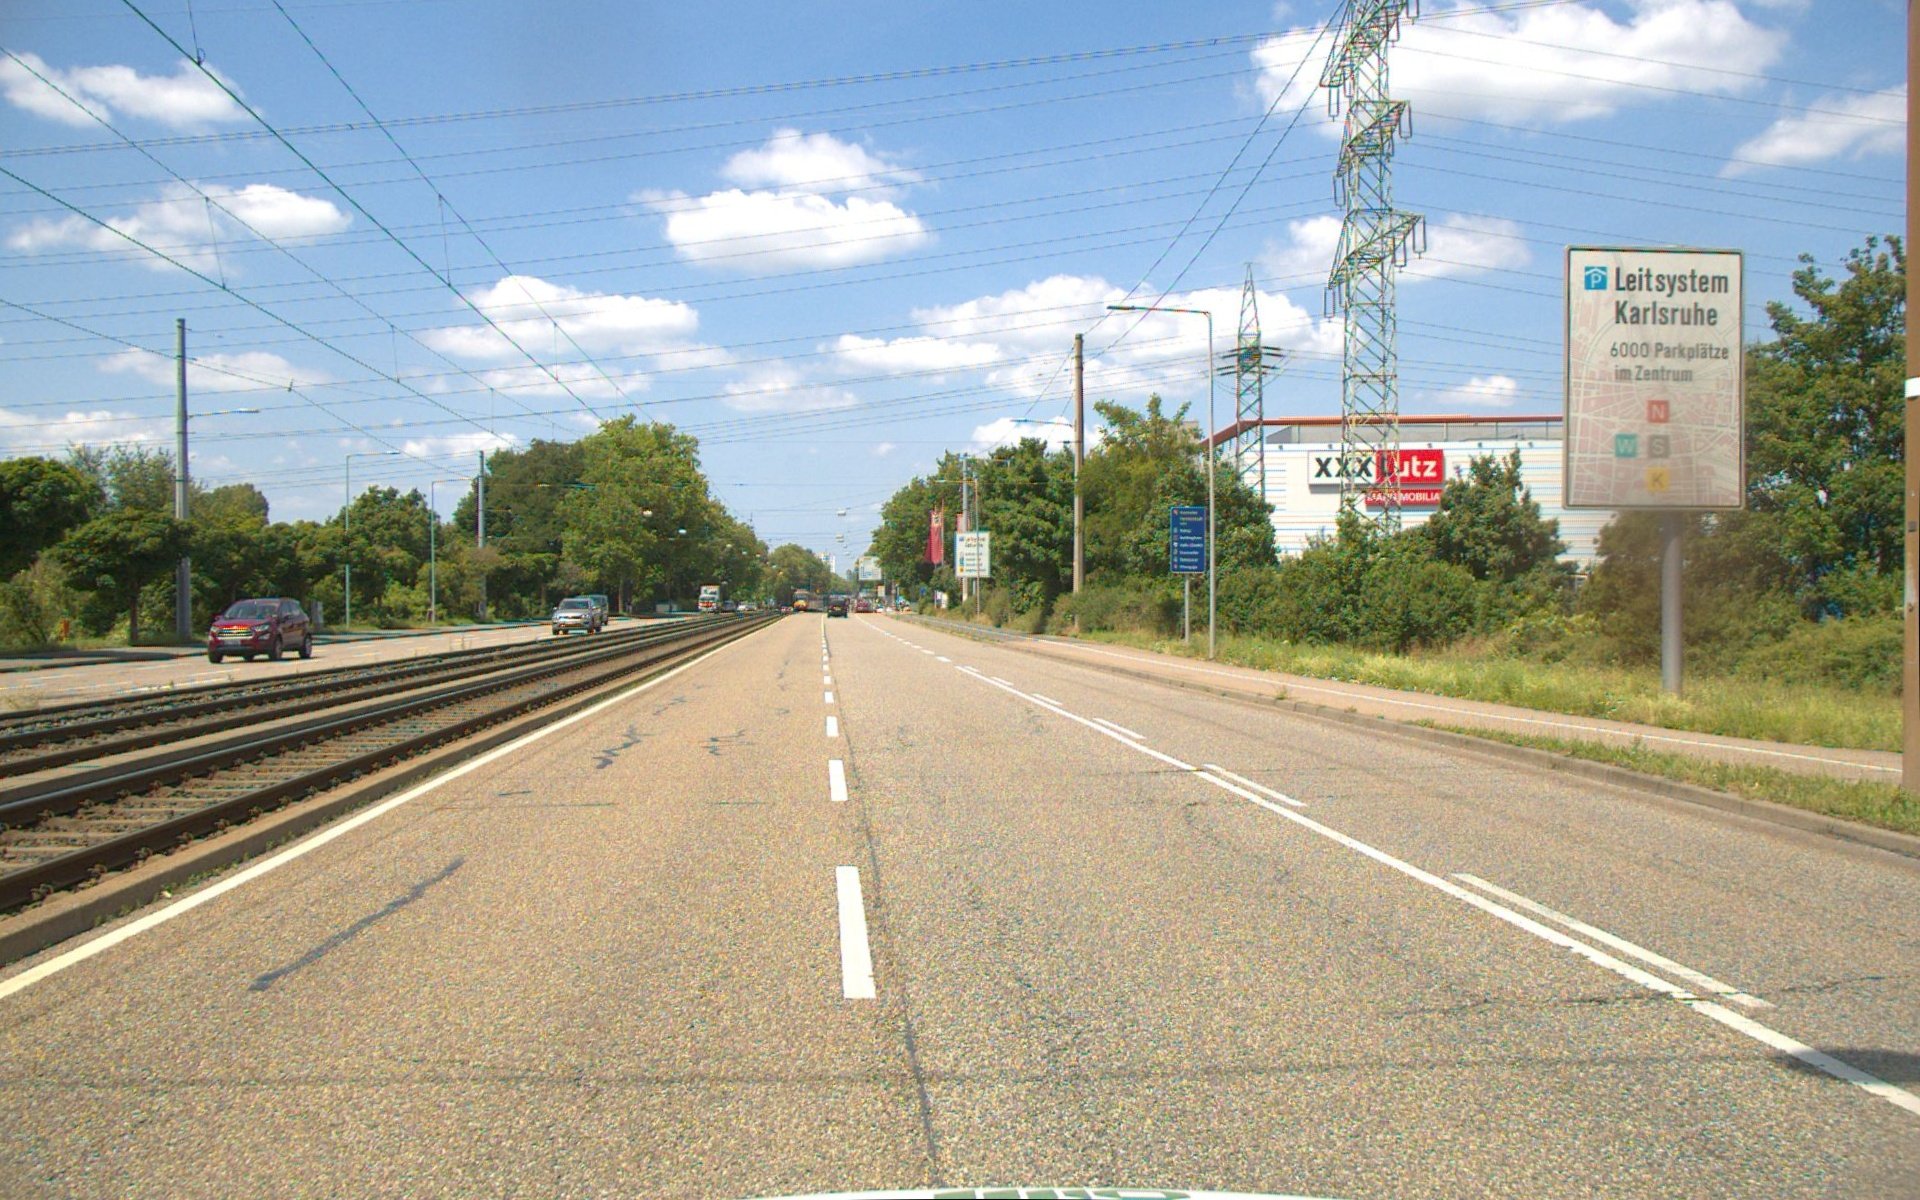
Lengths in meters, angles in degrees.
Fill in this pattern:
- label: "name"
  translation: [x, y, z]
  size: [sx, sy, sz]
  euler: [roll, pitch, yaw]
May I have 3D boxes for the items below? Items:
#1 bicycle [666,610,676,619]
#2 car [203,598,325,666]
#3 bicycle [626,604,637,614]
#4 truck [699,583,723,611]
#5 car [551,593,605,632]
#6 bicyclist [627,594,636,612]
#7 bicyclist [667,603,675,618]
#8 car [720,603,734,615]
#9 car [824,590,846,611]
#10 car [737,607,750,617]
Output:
- label: "bicycle"
  translation: [-31.888, 1.597, 182.616]
  size: [0.610, 0.997, 2.055]
  euler: [2, 0, 1]
- label: "car"
  translation: [-18.649, 0.826, 44.517]
  size: [1.766, 1.653, 4.207]
  euler: [-2, 0, -5]
- label: "bicycle"
  translation: [-30.065, 0.786, 151.349]
  size: [0.637, 0.874, 2.120]
  euler: [1, 0, -1]
- label: "truck"
  translation: [-29.533, -0.364, 196.148]
  size: [2.205, 3.293, 6.038]
  euler: [-1, 0, -3]
- label: "car"
  translation: [-17.674, 0.560, 76.703]
  size: [1.766, 1.653, 4.489]
  euler: [-2, 0, -5]
- label: "bicyclist"
  translation: [-30.040, 0.273, 151.257]
  size: [0.637, 1.648, 1.155]
  euler: [1, 0, -1]
- label: "bicyclist"
  translation: [-31.888, 1.129, 182.514]
  size: [0.610, 1.645, 1.062]
  euler: [1, 0, 1]
- label: "car"
  translation: [-30.772, 1.191, 218.583]
  size: [1.718, 1.562, 3.952]
  euler: [-2, 0, -6]
- label: "car"
  translation: [-11.006, 0.043, 145.836]
  size: [1.862, 1.837, 3.972]
  euler: [1, 0, -5]
- label: "car"
  translation: [-32.573, 1.810, 248.797]
  size: [1.604, 1.446, 4.124]
  euler: [-2, 0, -4]
